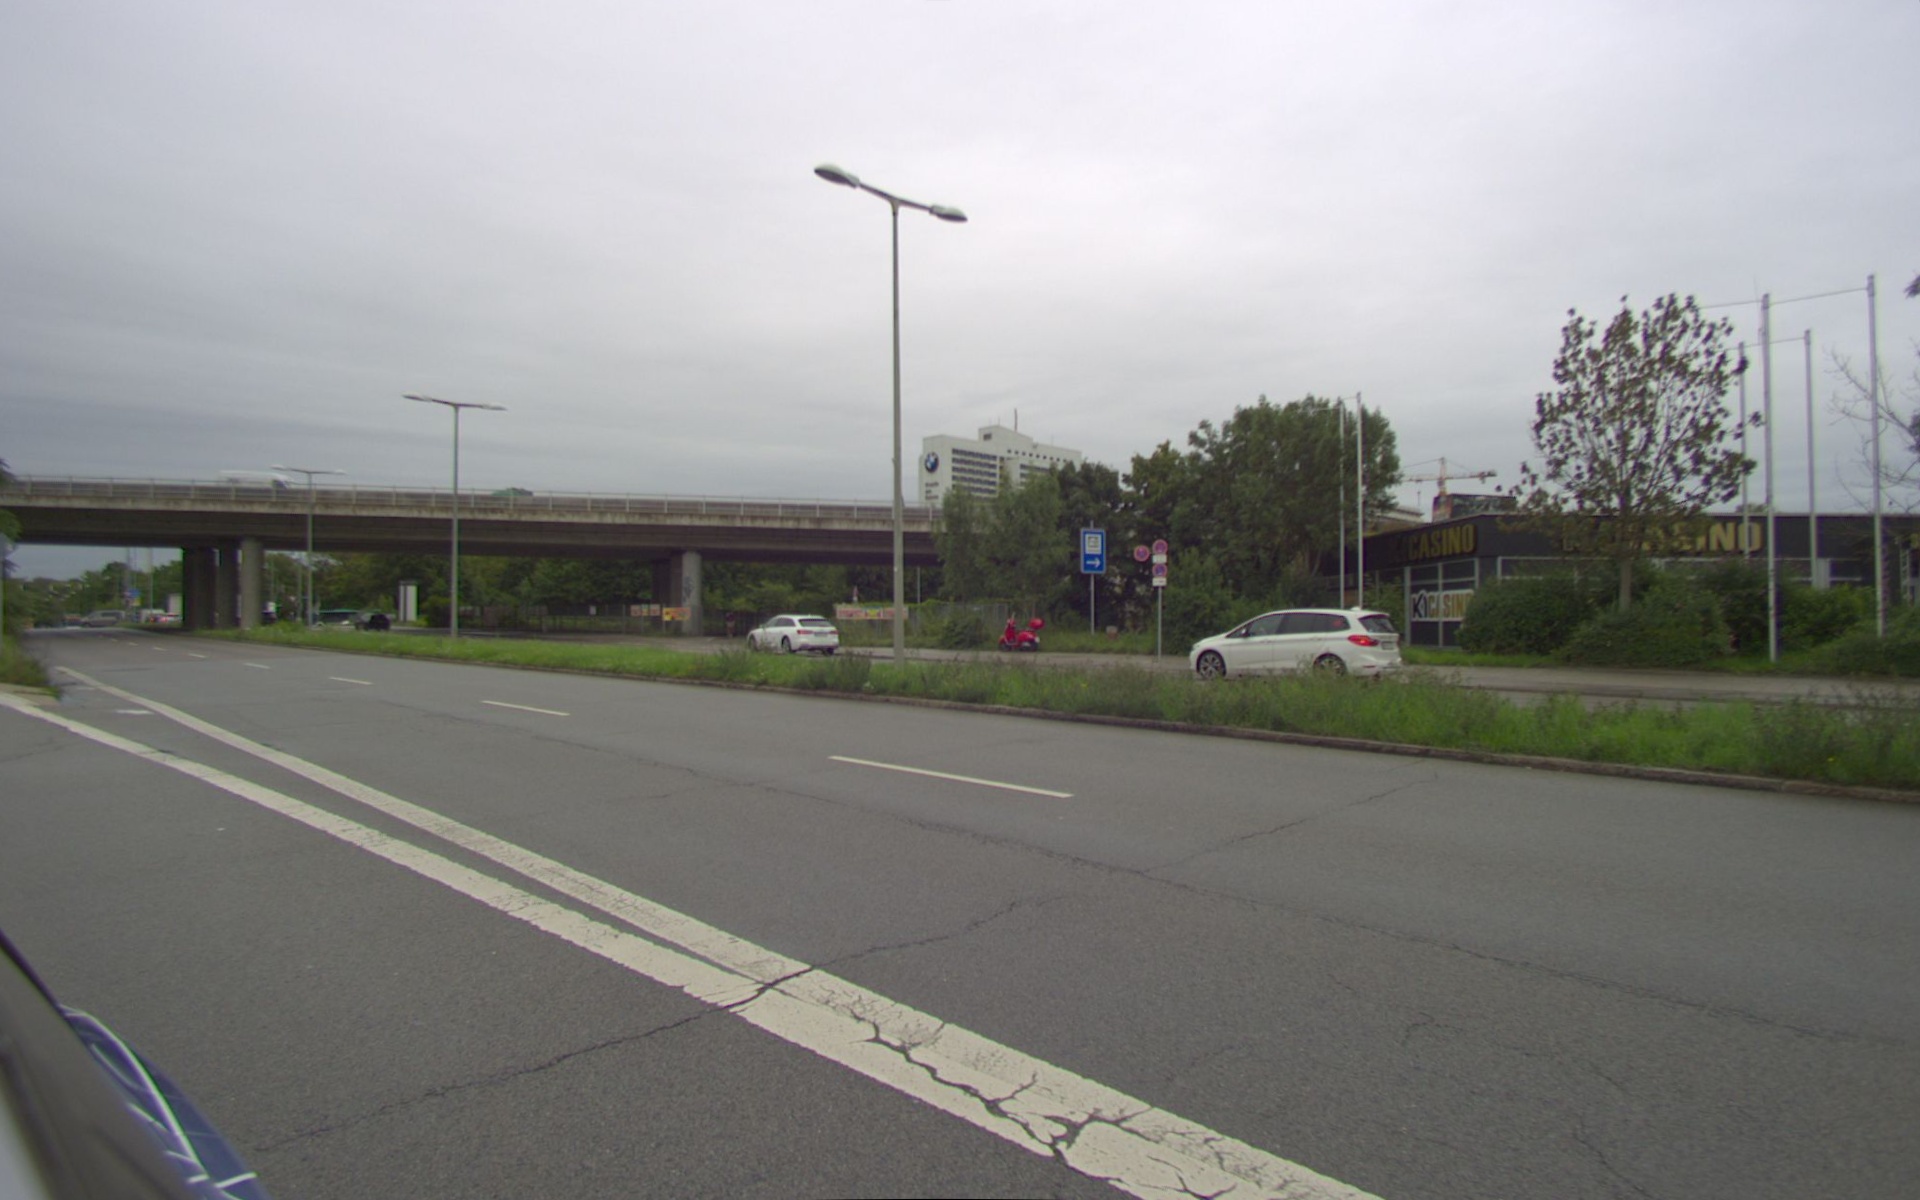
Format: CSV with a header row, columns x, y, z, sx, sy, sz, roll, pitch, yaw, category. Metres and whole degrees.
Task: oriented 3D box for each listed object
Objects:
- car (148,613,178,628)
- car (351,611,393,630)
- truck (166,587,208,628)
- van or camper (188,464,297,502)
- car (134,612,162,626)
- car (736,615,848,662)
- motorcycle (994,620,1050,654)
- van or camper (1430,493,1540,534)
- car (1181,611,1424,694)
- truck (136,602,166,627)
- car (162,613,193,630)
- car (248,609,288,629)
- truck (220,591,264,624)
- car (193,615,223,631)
x,y,z,sx,sy,sz,roll,pitch,yaw,category
-88.437,2.266,112.267,1.946,1.595,4.594,5,-4,-45,car
-48.956,1.675,84.217,1.945,1.407,4.822,3,-2,-43,car
-92.116,0.872,120.533,2.757,4.626,9.610,5,-4,-44,truck
-47.016,-7.653,66.423,5.423,2.029,2.334,1,-1,-5,van or camper
-94.059,2.166,117.172,4.593,1.595,1.947,-1,1,44,car
-6.340,1.386,37.627,1.967,1.584,5.130,2,-2,-37,car
2.194,1.310,36.081,0.527,1.185,2.197,2,-2,-44,motorcycle
35.064,-5.771,67.739,5.955,2.262,2.646,2,-1,-2,van or camper
7.255,1.047,21.762,1.970,1.584,4.578,2,-2,-43,car
-124.359,2.236,155.510,2.757,3.708,6.649,5,-4,-44,truck
-80.418,2.241,103.996,1.946,1.595,4.595,5,-4,-44,car
-60.642,1.628,88.636,4.592,1.595,1.947,0,-4,44,car
-69.344,0.757,97.667,2.227,3.000,7.238,5,-4,-44,truck
-81.531,2.470,109.704,1.946,1.595,4.595,5,-4,-44,car
